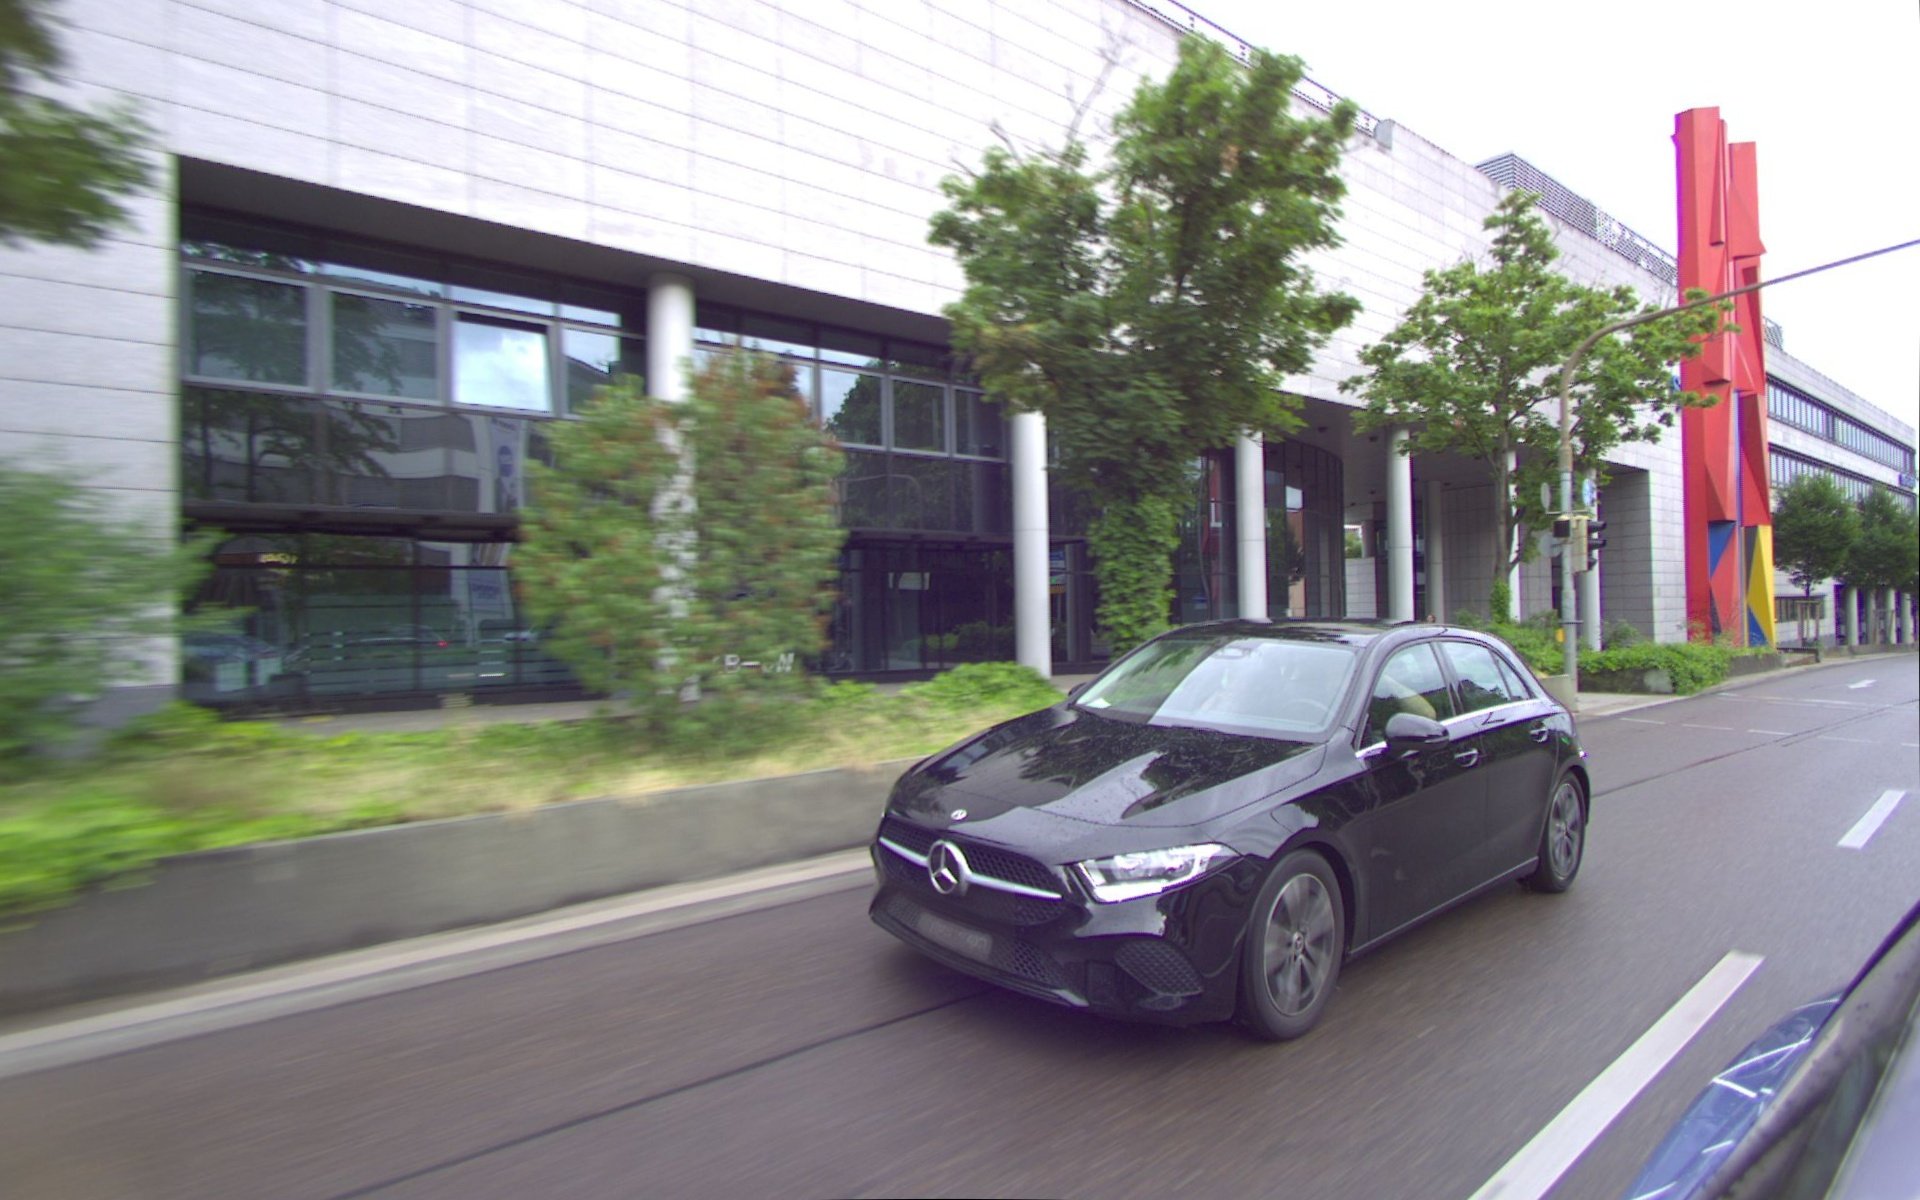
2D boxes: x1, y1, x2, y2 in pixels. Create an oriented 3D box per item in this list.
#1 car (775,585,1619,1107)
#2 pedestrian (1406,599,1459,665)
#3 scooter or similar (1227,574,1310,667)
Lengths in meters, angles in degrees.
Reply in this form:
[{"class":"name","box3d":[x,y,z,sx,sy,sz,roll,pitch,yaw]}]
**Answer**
[{"class":"car","box3d":[1.403,0.738,4.889,4.130,1.455,1.876,2,-1,-40]},{"class":"pedestrian","box3d":[11.853,0.794,25.396,0.828,1.606,0.971,2,-1,-43]},{"class":"scooter or similar","box3d":[5.320,0.364,17.506,0.493,1.551,1.326,2,-3,-37]}]
